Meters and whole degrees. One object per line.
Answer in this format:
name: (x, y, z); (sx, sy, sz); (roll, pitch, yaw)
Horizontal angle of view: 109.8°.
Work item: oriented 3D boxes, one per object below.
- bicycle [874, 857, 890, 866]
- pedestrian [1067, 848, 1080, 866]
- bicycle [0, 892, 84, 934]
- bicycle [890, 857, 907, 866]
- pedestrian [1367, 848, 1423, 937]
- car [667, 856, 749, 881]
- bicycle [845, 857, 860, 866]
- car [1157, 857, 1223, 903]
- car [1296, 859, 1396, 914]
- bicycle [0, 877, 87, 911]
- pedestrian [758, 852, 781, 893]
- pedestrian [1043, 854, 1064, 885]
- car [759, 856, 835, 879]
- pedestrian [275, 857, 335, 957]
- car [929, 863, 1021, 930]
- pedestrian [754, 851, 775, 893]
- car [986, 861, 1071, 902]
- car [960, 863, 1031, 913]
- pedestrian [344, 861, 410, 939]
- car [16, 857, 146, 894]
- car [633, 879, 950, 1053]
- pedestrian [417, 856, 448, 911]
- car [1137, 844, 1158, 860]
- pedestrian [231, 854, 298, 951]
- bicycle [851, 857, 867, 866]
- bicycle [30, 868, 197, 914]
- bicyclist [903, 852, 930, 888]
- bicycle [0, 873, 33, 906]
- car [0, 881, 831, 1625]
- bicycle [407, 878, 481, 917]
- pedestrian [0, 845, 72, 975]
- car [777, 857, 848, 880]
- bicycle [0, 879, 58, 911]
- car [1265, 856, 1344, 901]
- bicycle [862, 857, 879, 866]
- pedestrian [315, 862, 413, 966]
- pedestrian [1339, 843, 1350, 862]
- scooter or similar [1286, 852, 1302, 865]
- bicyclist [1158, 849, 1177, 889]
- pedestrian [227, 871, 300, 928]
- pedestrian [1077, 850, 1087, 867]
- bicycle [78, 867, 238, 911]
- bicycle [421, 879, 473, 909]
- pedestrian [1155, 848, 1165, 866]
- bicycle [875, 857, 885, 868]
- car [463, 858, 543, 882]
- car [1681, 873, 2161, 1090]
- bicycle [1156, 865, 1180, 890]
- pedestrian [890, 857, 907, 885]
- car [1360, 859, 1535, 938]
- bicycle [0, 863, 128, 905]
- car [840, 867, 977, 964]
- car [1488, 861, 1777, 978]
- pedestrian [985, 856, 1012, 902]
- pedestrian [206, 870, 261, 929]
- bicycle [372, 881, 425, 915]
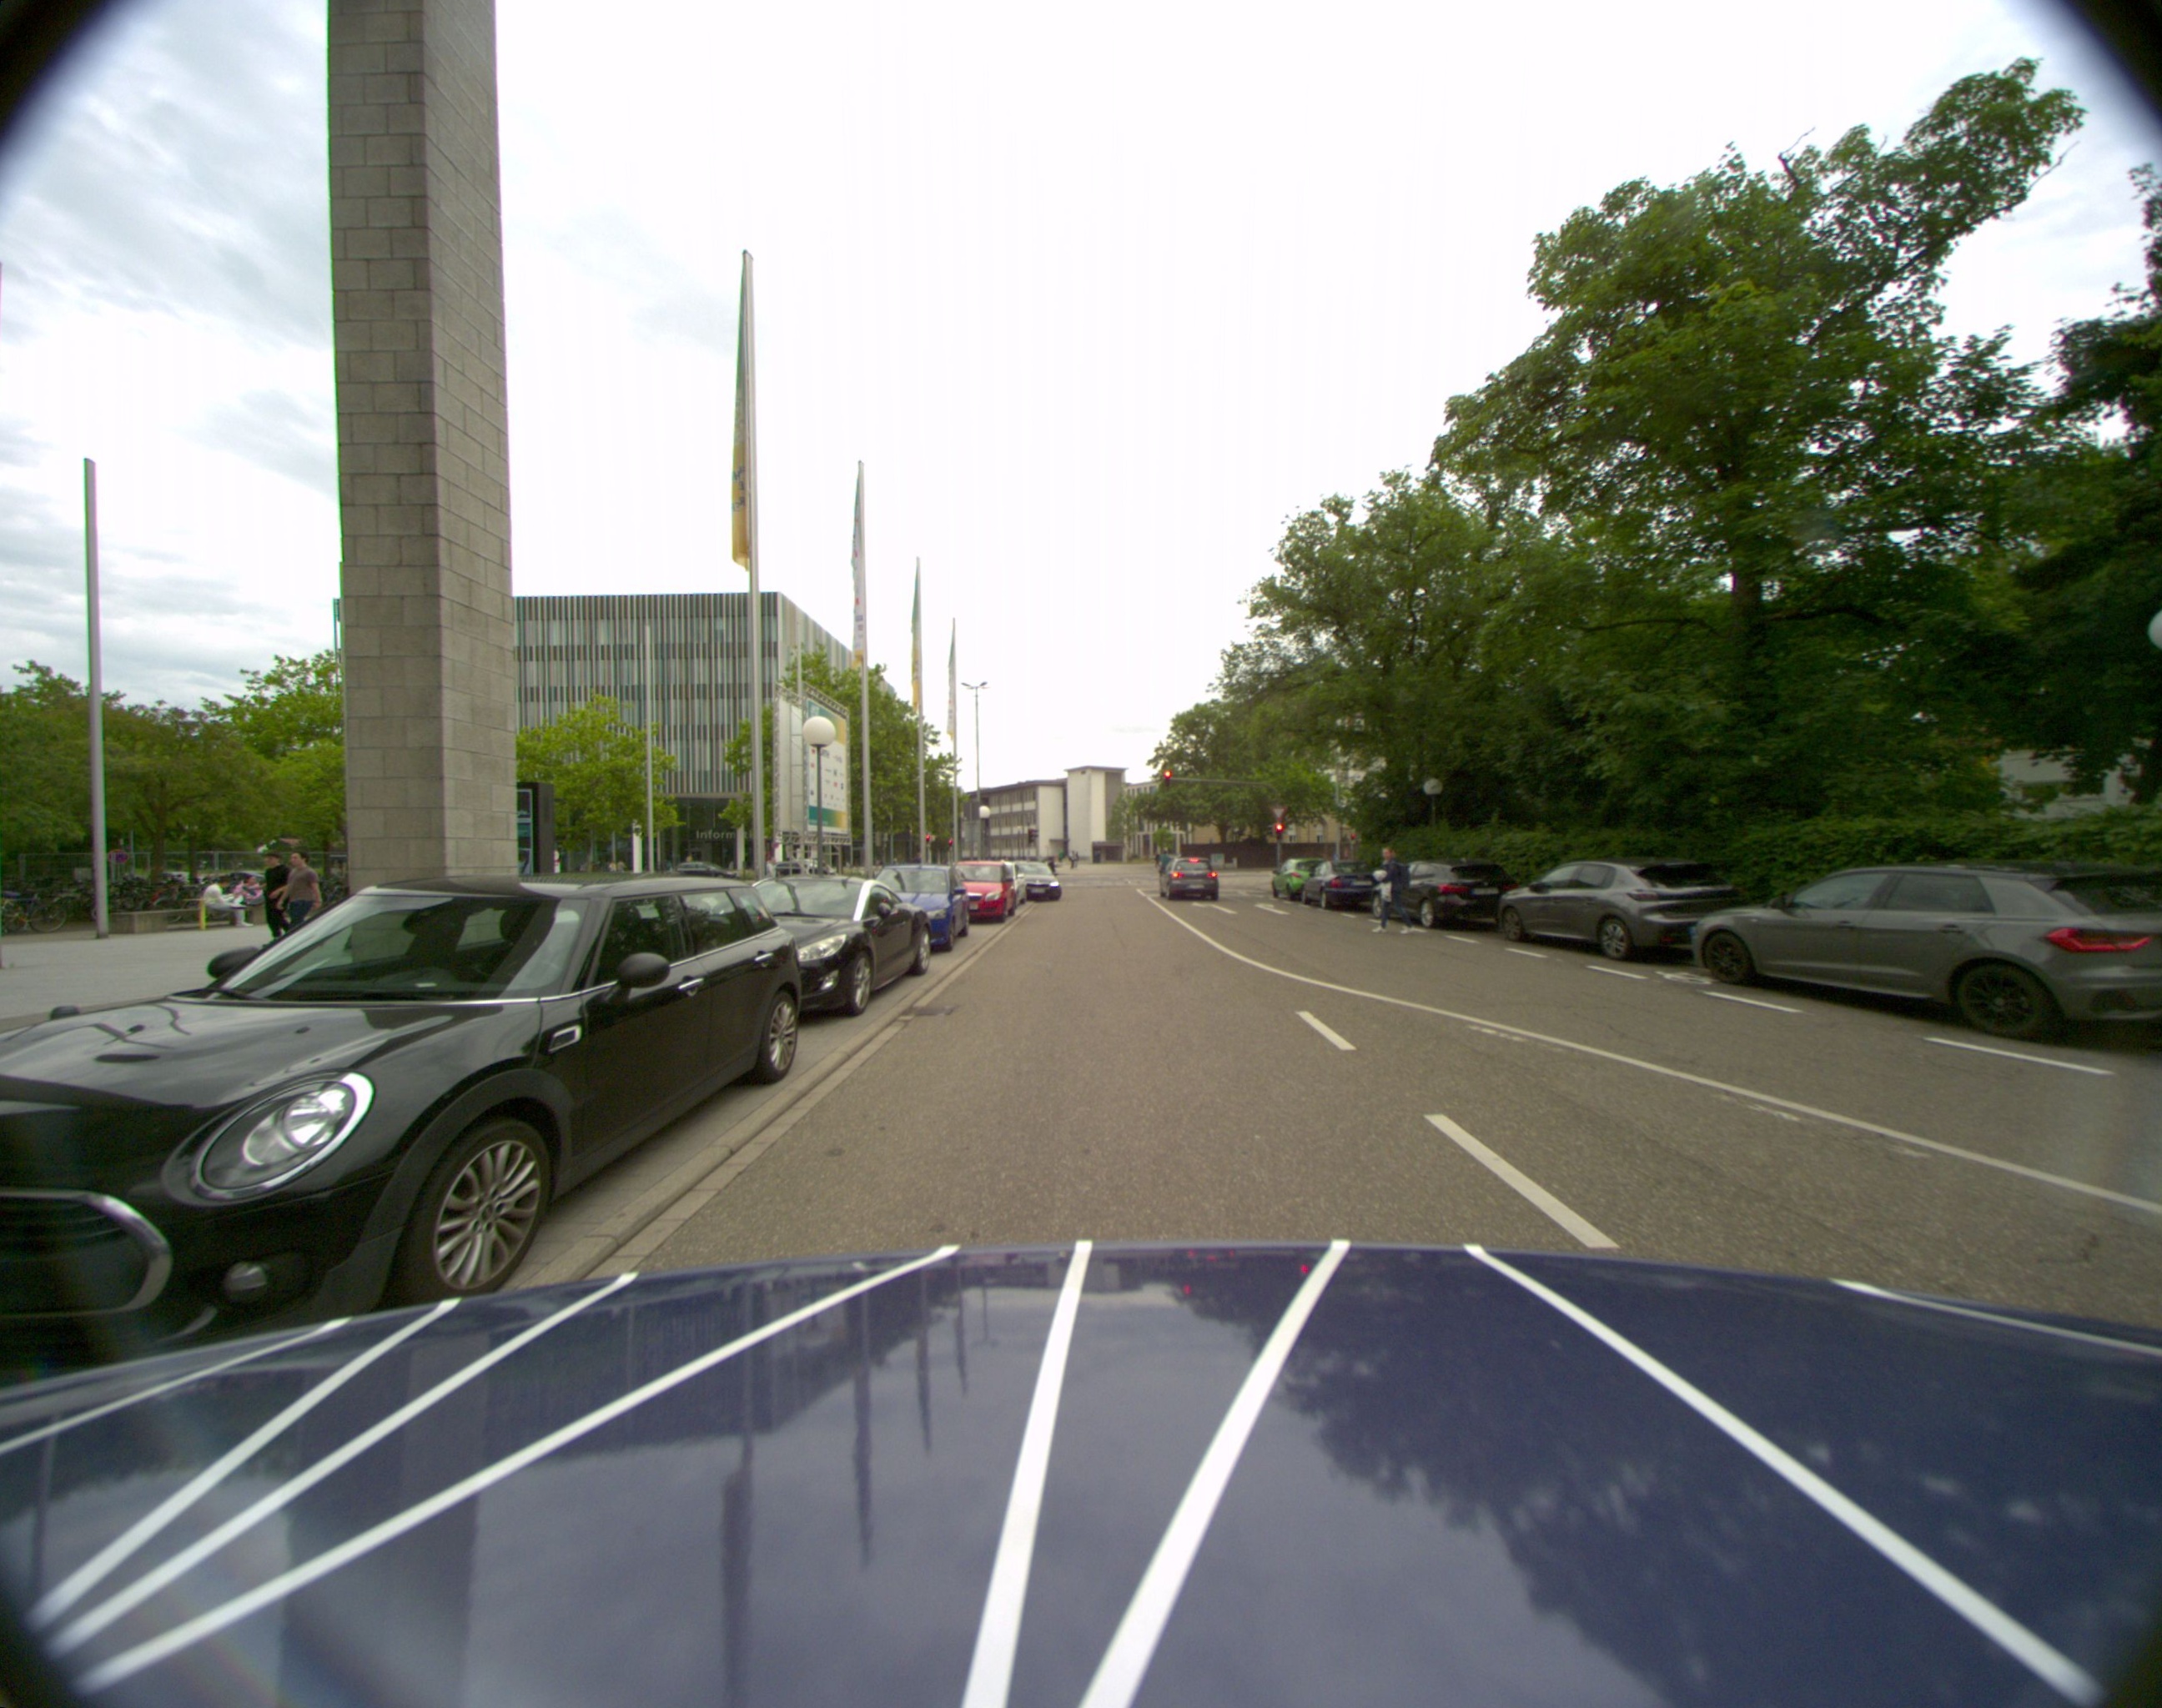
bicycle: (-21.550, 0.820, 82.213); (2.004, 0.931, 0.485); (0, 2, 32)
pedestrian: (-0.737, 0.277, 73.349); (0.848, 1.778, 0.892); (-2, 1, -42)
bicycle: (-31.156, 1.709, 21.855); (0.747, 1.162, 3.109); (-2, -2, 3)
bicycle: (-20.182, 0.818, 83.993); (2.004, 0.931, 0.485); (0, 2, 32)
pedestrian: (6.028, 0.722, 14.617); (0.740, 1.652, 0.968); (0, 0, 5)
car: (-26.776, 1.014, 54.685); (4.837, 1.653, 2.000); (-1, 0, -1)
bicycle: (-24.175, 0.827, 80.323); (2.004, 0.931, 0.485); (1, 2, 41)
car: (3.846, 0.884, 27.413); (1.787, 1.488, 4.167); (0, 1, 1)
car: (7.796, 0.901, 22.775); (1.801, 1.400, 4.337); (0, 0, 4)
bicycle: (-38.088, 1.427, 26.932); (1.054, 1.162, 3.397); (-2, -2, 6)
pedestrian: (-13.232, 0.766, 32.320); (0.673, 1.705, 0.678); (-1, 1, 0)
pedestrian: (-1.459, 0.817, 40.034); (1.044, 1.610, 0.657); (-1, 1, -8)
car: (-23.202, 1.125, 62.233); (5.371, 1.687, 2.048); (-2, -2, -3)
pedestrian: (-13.926, 0.925, 13.631); (0.779, 1.702, 0.649); (2, 1, 38)
car: (-2.613, 0.995, 19.639); (1.716, 1.464, 4.274); (1, 0, 1)
pedestrian: (-13.212, 0.738, 31.731); (0.585, 1.705, 0.657); (-1, 1, -3)
car: (-2.158, 1.021, 29.935); (1.869, 1.393, 4.469); (-1, 1, -25)
car: (-2.751, 1.065, 25.344); (1.865, 1.444, 3.858); (-1, 0, 1)
pedestrian: (-15.449, 1.001, 16.691); (0.757, 1.660, 0.705); (-1, 0, 2)
car: (-51.654, 1.047, 39.378); (2.001, 1.743, 4.060); (-1, 1, -16)
car: (-2.895, 1.046, 8.799); (1.853, 1.433, 4.420); (-1, -1, 2)
pedestrian: (-21.956, 0.994, 25.724); (0.510, 1.823, 0.675); (0, 2, 41)
car: (9.448, -0.227, 107.523); (1.997, 1.570, 4.412); (-9, -8, 15)
pedestrian: (-14.892, 0.869, 13.875); (0.695, 1.702, 0.907); (0, -3, -38)
bicycle: (-23.644, 0.829, 80.842); (2.004, 0.931, 0.550); (1, 2, 41)
bicycle: (-27.812, 1.023, 21.969); (0.747, 1.163, 3.108); (-1, 0, 3)
bicyclist: (-7.705, 0.742, 35.662); (0.874, 1.631, 0.870); (-1, 0, 43)
bicycle: (-40.464, 1.365, 27.170); (1.054, 1.163, 3.395); (-1, 1, 6)
car: (-2.934, 0.956, 3.907); (1.822, 1.435, 4.520); (1, 0, 0)
bicycle: (-20.417, 1.376, 24.428); (0.457, 1.162, 2.414); (-2, -2, -4)
pedestrian: (-15.119, 0.772, 10.696); (0.765, 1.774, 0.736); (-1, 1, -13)
car: (-19.068, 1.038, 54.089); (4.289, 1.481, 2.000); (-1, 1, 0)
bicycle: (-39.359, 1.473, 27.066); (1.054, 1.162, 3.397); (-2, -2, 6)
car: (8.074, 0.845, 27.848); (1.802, 1.461, 4.248); (0, 1, 2)
bicycle: (-22.509, 0.815, 81.262); (2.004, 0.931, 0.485); (0, 2, 32)
pedestrian: (-11.765, 0.964, 12.497); (0.736, 1.631, 0.931); (-2, -2, -4)
pedestrian: (23.700, -0.134, 68.297); (0.642, 1.684, 0.779); (-1, 2, -8)
scooter or similar: (19.889, 0.411, 70.877); (1.410, 1.223, 0.496); (0, 3, 20)
bicyclist: (3.850, 0.663, 33.938); (0.659, 1.769, 0.983); (0, 1, -7)
pedestrian: (-21.487, 1.175, 19.997); (0.852, 1.412, 0.968); (-1, 1, -10)
pedestrian: (0.069, 0.443, 72.447); (0.619, 1.656, 0.623); (-2, 1, -40)
bicycle: (-26.646, 1.000, 22.065); (0.747, 1.162, 3.109); (-2, -2, 3)
bicycle: (-24.116, 1.507, 28.940); (0.457, 1.043, 1.935); (0, 0, -4)
pedestrian: (7.383, 0.271, 70.849); (0.808, 1.655, 0.791); (-1, 1, 1)
bicycle: (-19.687, 0.810, 74.404); (0.484, 1.039, 1.779); (-1, 1, -28)
car: (-41.458, 1.129, 54.567); (4.191, 1.608, 1.999); (-1, 0, -2)
car: (8.242, 0.932, 7.277); (1.768, 1.403, 4.008); (-1, 0, -1)
bicycle: (3.856, 1.031, 33.950); (0.659, 1.031, 1.856); (0, 1, -7)
pedestrian: (-10.894, 0.997, 45.381); (0.757, 1.618, 0.793); (1, 3, 7)
car: (8.022, 0.884, 17.165); (1.802, 1.551, 4.530); (0, 0, 1)
bicycle: (-30.034, 0.872, 22.054); (0.747, 1.162, 3.109); (-2, -2, 3)
car: (-2.974, 0.990, 13.979); (1.700, 1.403, 4.375); (0, 1, -3)
car: (8.279, 0.885, 11.907); (1.766, 1.463, 3.824); (0, 1, 1)
pedestrian: (-3.254, 0.984, 29.986); (0.792, 1.777, 0.822); (-1, 1, 13)
pedestrian: (-21.194, 1.119, 19.017); (0.674, 1.405, 0.768); (-1, 1, -31)
bicycle: (-23.215, 1.472, 25.872); (0.457, 1.043, 1.933); (0, 0, -13)
